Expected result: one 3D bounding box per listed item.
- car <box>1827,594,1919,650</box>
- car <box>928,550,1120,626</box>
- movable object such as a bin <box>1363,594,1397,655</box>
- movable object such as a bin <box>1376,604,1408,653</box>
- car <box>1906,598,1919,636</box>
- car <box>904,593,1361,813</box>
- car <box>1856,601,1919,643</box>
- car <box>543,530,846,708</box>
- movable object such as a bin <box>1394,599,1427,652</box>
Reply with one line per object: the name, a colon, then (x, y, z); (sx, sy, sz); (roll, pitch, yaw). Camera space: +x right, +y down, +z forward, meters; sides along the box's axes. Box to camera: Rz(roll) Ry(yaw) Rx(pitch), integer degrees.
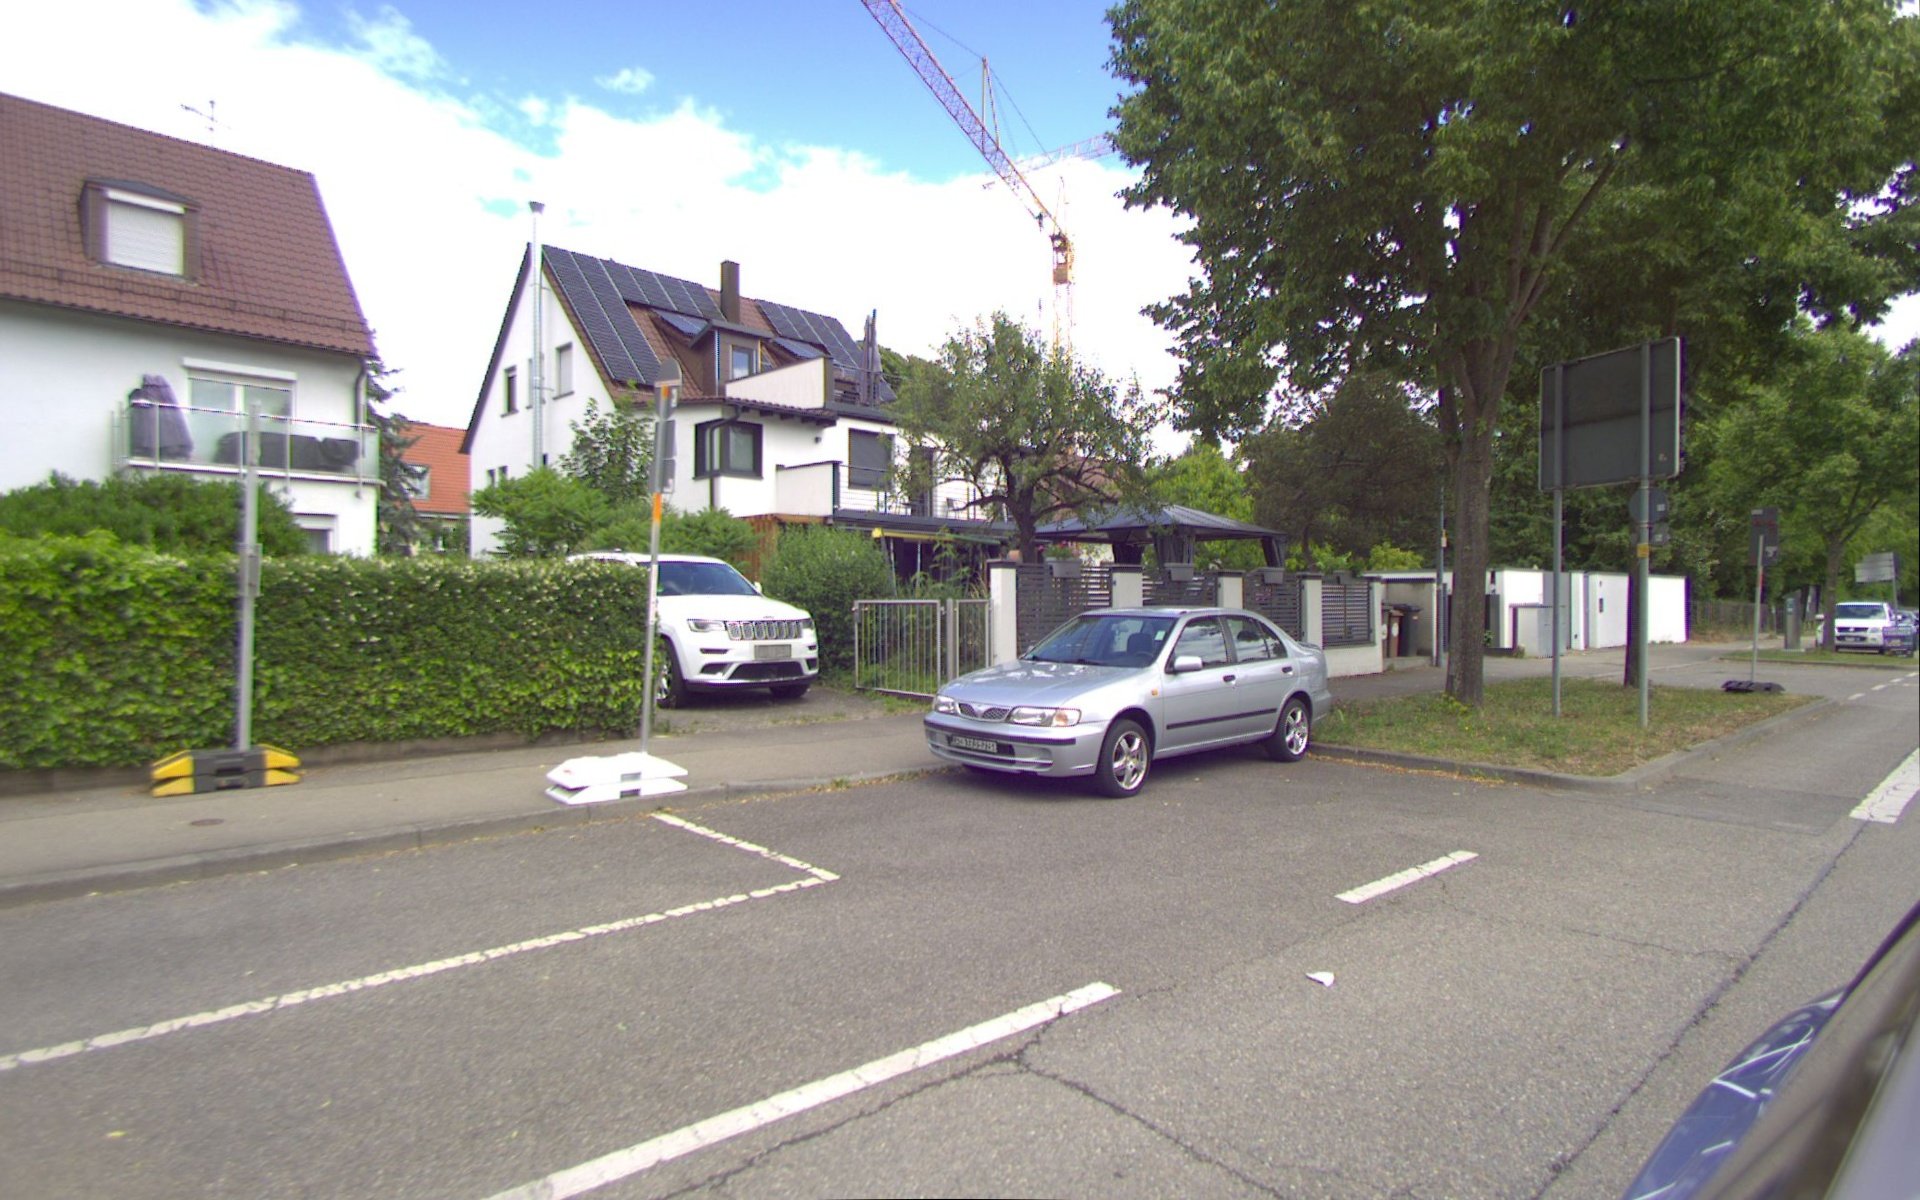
car: (29.369, 0.656, 32.473); (4.046, 1.663, 1.903); (0, 0, -42)
car: (1.683, -0.333, 28.034); (5.179, 1.927, 2.018); (0, 1, 42)
movable object such as a bin: (7.999, 0.458, 19.285); (0.446, 1.123, 0.437); (1, 0, -41)
movable object such as a bin: (8.383, 0.551, 19.639); (0.388, 0.932, 0.437); (1, 0, -41)
car: (43.650, 0.728, 45.004); (4.605, 1.631, 1.864); (0, -1, -41)
car: (1.693, 0.677, 8.815); (4.312, 1.394, 1.614); (-2, 1, -42)
car: (33.867, 0.762, 36.340); (4.520, 1.435, 1.867); (1, 0, -40)
car: (-3.413, 0.179, 12.594); (1.967, 1.846, 3.990); (0, 0, -44)
movable object such as a bin: (8.876, 0.492, 19.928); (0.446, 1.035, 0.437); (1, 0, -41)
